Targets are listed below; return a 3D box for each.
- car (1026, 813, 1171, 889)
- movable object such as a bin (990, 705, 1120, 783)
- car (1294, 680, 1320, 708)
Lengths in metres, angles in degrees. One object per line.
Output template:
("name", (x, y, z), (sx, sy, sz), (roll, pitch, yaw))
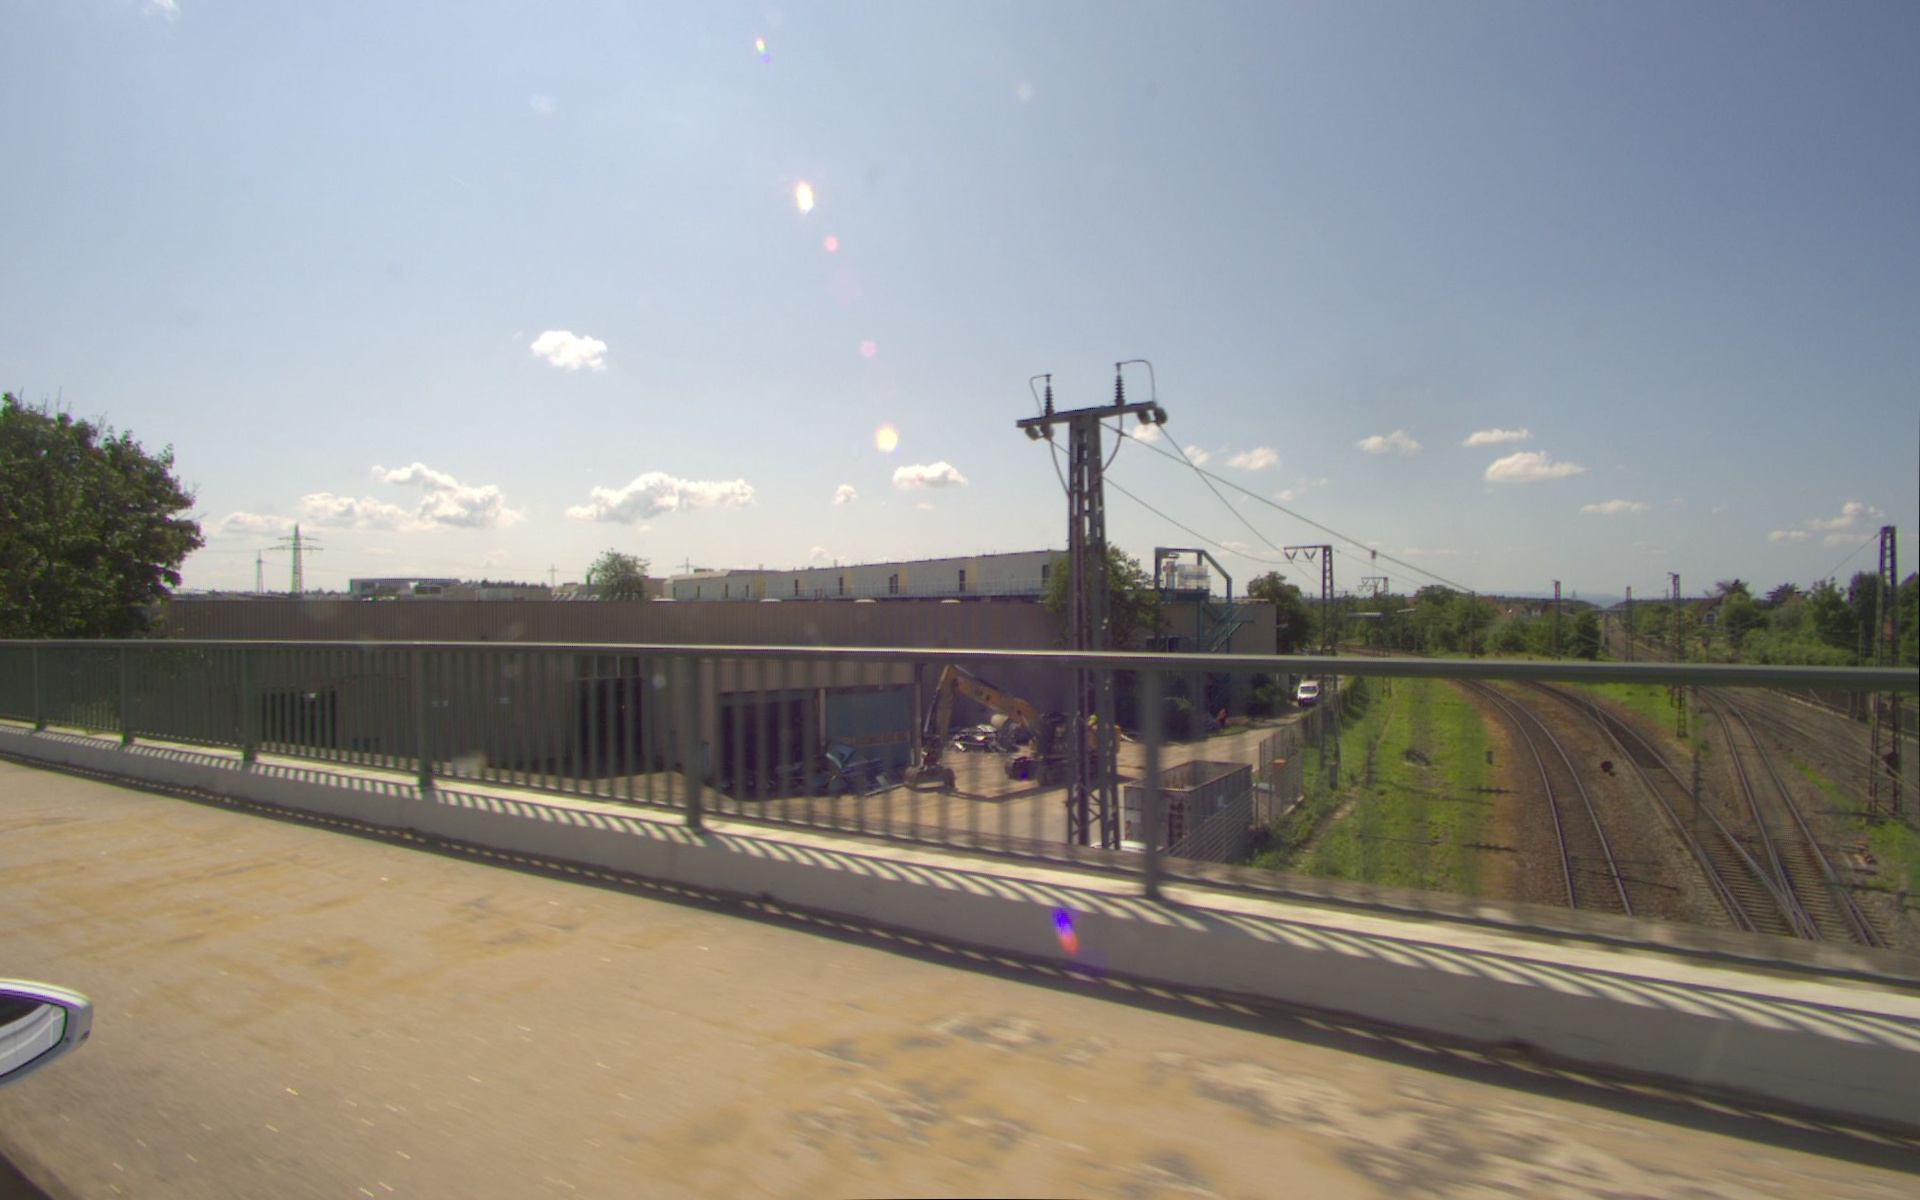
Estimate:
("car", (4.467, 8.052, 32.377), (4.184, 1.614, 1.992), (0, -4, 33))
("movable object such as a bin", (5.077, 7.546, 53.306), (6.138, 3.334, 3.228), (1, 1, -32))
("car", (31.359, 8.455, 90.513), (1.966, 2.041, 3.989), (0, 1, 22))
